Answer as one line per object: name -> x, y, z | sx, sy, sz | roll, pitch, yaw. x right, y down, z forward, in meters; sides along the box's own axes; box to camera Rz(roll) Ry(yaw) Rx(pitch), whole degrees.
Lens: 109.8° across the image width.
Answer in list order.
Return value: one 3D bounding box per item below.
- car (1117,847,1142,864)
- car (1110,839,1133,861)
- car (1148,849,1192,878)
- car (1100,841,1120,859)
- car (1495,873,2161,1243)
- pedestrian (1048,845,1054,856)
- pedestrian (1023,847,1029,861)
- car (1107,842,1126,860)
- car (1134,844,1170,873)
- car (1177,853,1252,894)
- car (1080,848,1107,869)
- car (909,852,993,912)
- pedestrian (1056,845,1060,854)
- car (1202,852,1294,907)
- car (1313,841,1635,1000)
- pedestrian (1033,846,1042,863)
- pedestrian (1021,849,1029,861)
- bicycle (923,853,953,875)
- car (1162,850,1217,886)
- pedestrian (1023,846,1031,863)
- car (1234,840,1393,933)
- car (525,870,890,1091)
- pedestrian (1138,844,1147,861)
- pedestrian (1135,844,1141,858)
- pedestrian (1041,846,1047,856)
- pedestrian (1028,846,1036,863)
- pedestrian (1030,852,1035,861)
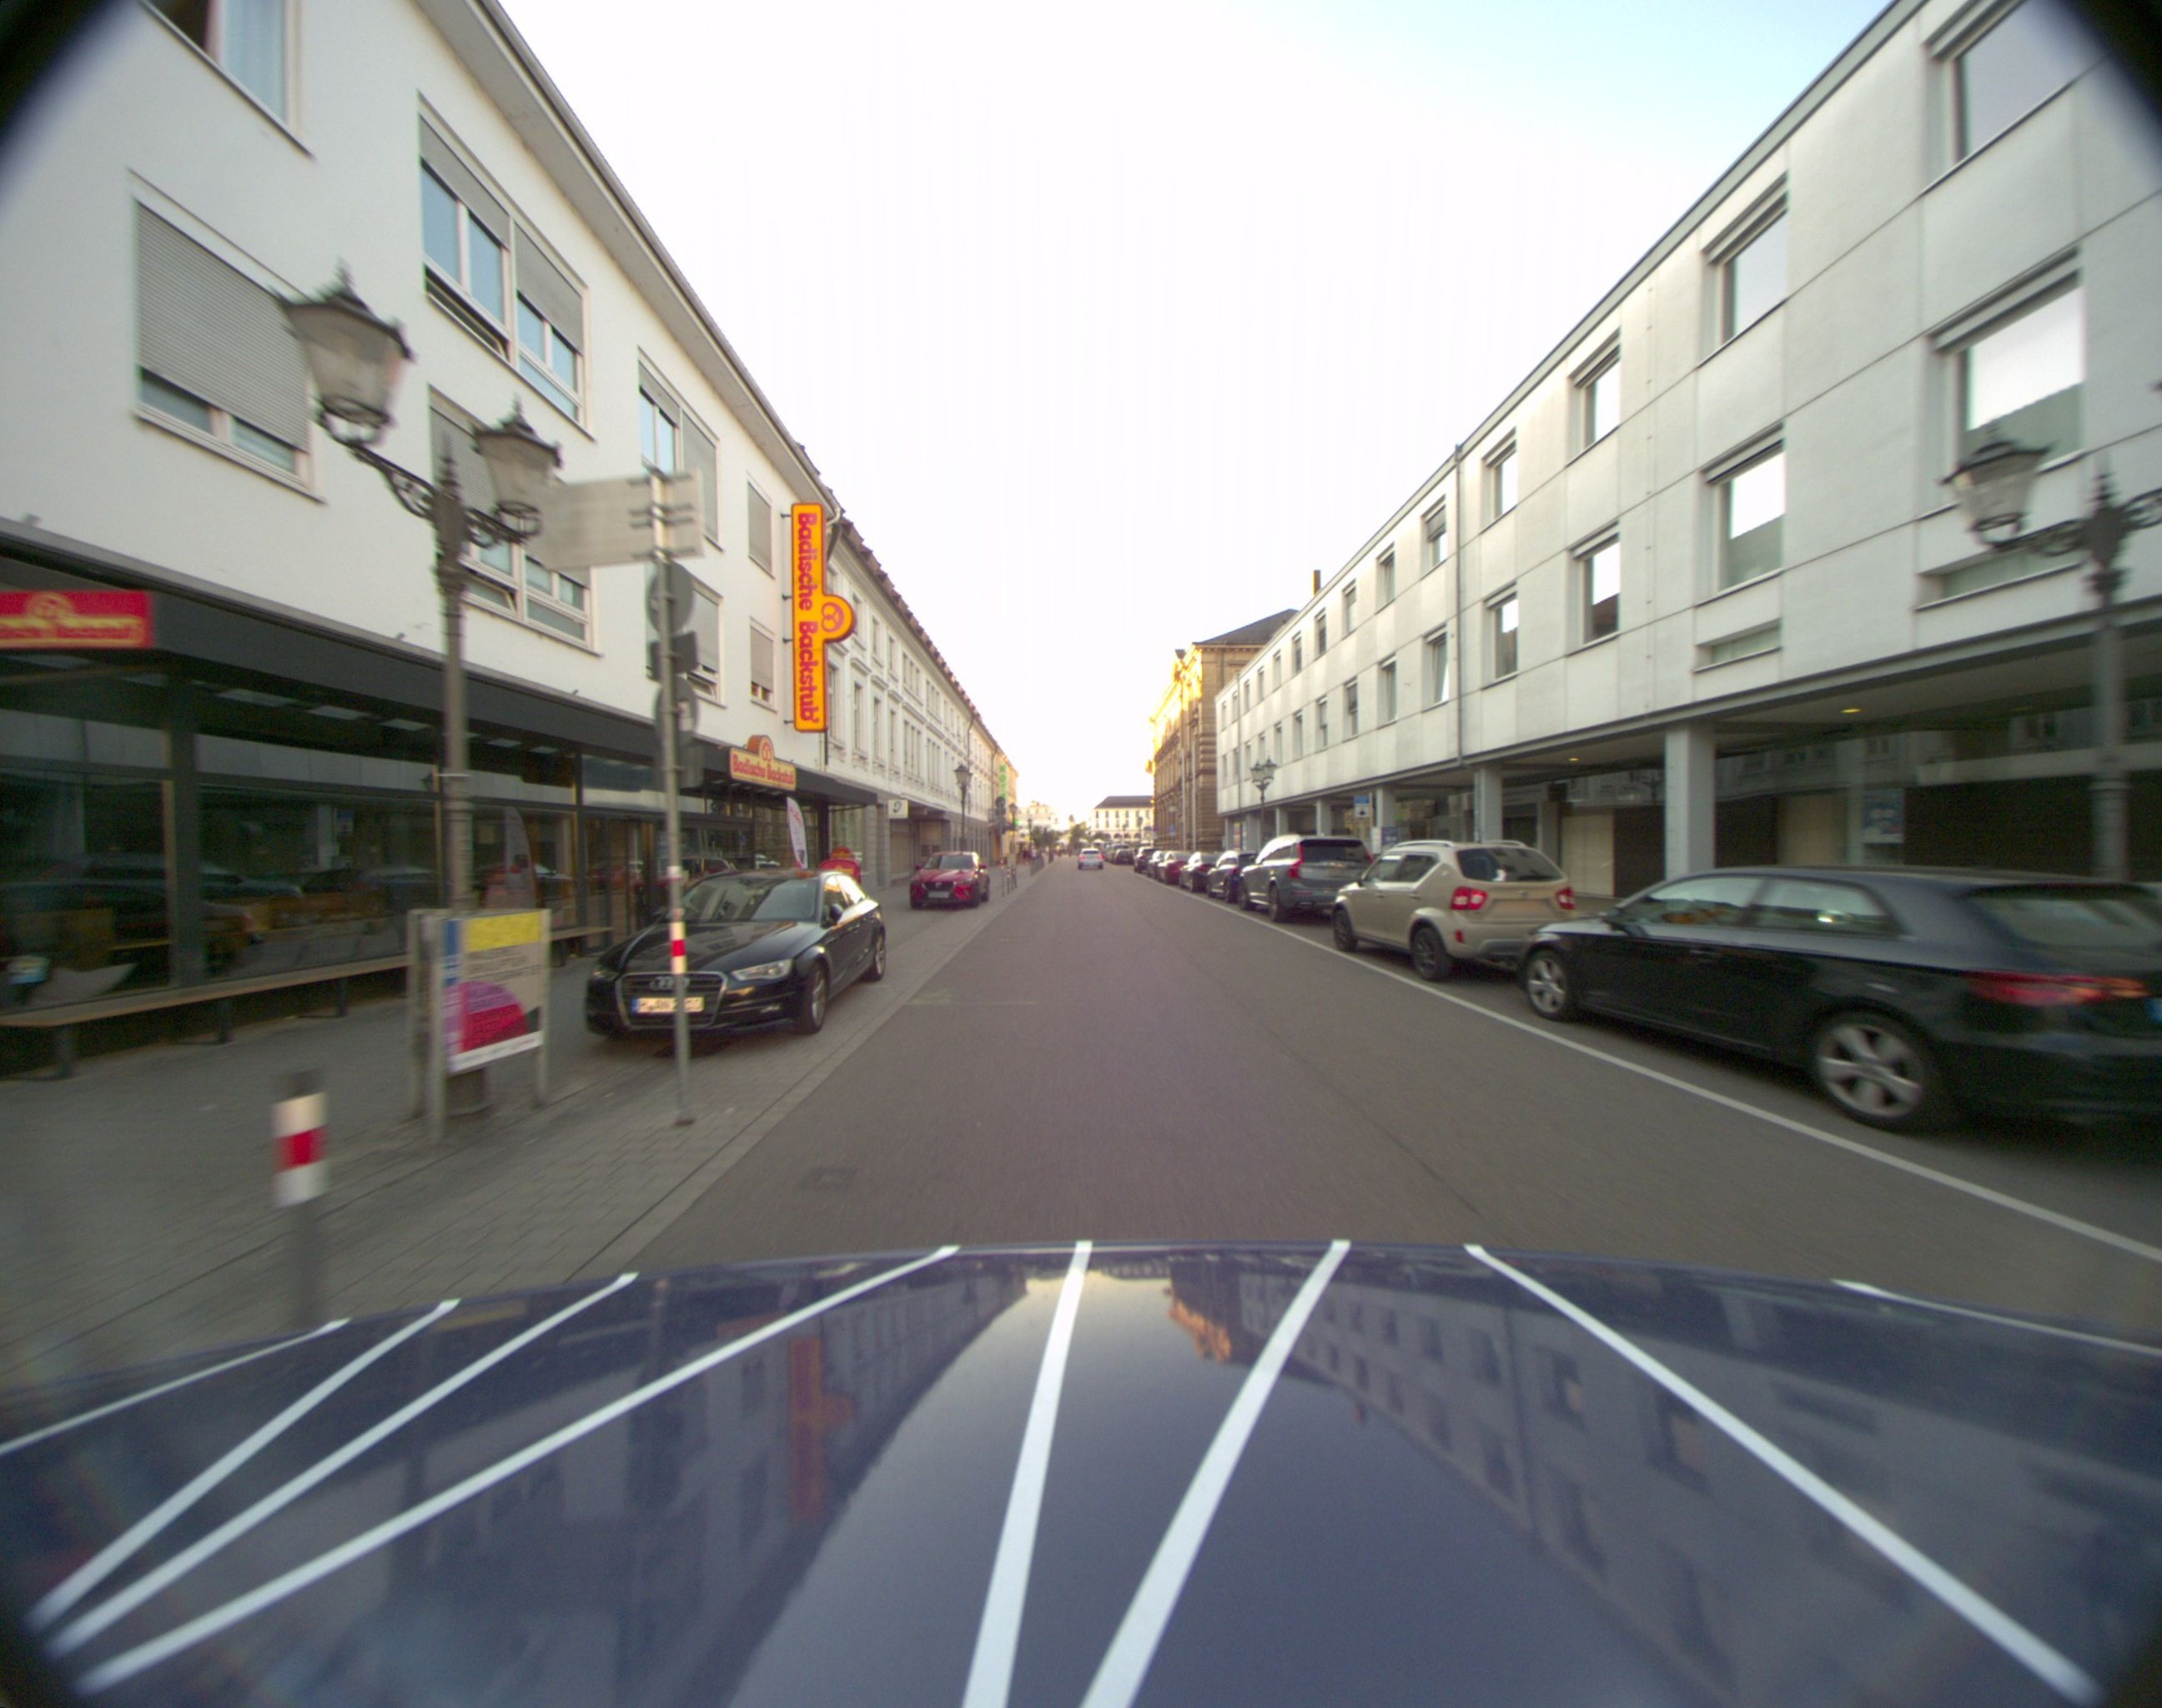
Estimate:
car -> 4.497, 0.127, 70.635 | 1.998, 1.486, 4.163 | -1, 1, 0
car -> 4.078, -0.441, 77.200 | 1.999, 2.066, 4.988 | -1, 2, -1
car -> 4.497, 0.453, 39.062 | 1.789, 1.400, 4.087 | -1, 1, 0
car -> 3.638, -0.572, 95.955 | 1.999, 2.159, 5.205 | -1, 1, -3
car -> 4.894, 0.901, 5.231 | 1.682, 1.346, 4.103 | -1, 1, -3
pedestrian -> -5.072, -0.618, 127.247 | 0.667, 1.720, 0.767 | 0, 2, 42
pedestrian -> -6.183, -0.017, 85.594 | 0.631, 1.592, 0.615 | -1, 1, 1
car -> 4.111, -0.393, 88.972 | 1.998, 2.076, 5.206 | -1, 1, 0
car -> 4.225, 0.237, 45.906 | 1.789, 1.605, 4.165 | -1, 1, 0
car -> 4.759, 0.649, 27.647 | 1.999, 1.346, 3.999 | 1, 1, 0
car -> 0.887, 0.321, 55.071 | 1.769, 1.414, 3.999 | 0, 1, -2
car -> -3.624, 0.735, 21.741 | 1.764, 1.514, 3.676 | 0, 1, 0
pedestrian -> -3.921, -0.754, 129.721 | 0.684, 1.557, 0.652 | -1, 1, -3
car -> 4.678, 0.653, 21.811 | 1.677, 1.392, 3.999 | 0, 1, -1
car -> 4.729, 0.670, 9.942 | 1.999, 1.652, 3.998 | 0, 1, -3
pedestrian -> -4.550, 0.033, 79.212 | 0.749, 1.720, 0.881 | -1, 1, 6
pedestrian -> -6.810, 0.138, 91.873 | 0.777, 1.352, 0.723 | -1, 1, -17
bicycle -> -8.478, 0.587, 45.162 | 1.661, 1.245, 0.439 | -1, 1, -3
car -> 4.595, 0.569, 32.780 | 1.789, 1.400, 4.087 | -1, 1, 0
pedestrian -> -5.581, 0.038, 78.665 | 0.715, 1.720, 0.873 | -1, 1, 2
car -> 4.751, 0.578, 16.272 | 1.999, 1.718, 4.515 | 0, 1, 0
car -> -3.240, 0.963, 7.629 | 1.806, 1.455, 4.115 | 0, 1, -3
pedestrian -> 6.469, -0.136, 79.941 | 0.715, 1.720, 0.896 | -4, 1, 1
pedestrian -> 6.949, -0.389, 92.883 | 0.609, 1.720, 0.703 | -1, 1, 1
pedestrian -> -6.186, -0.543, 127.152 | 0.607, 1.720, 0.719 | 0, 2, 42
pedestrian -> -4.992, 0.031, 77.681 | 0.621, 1.779, 0.913 | -1, 1, 3
pedestrian -> -5.488, 0.290, 85.740 | 0.461, 0.974, 0.558 | -1, 1, 1
